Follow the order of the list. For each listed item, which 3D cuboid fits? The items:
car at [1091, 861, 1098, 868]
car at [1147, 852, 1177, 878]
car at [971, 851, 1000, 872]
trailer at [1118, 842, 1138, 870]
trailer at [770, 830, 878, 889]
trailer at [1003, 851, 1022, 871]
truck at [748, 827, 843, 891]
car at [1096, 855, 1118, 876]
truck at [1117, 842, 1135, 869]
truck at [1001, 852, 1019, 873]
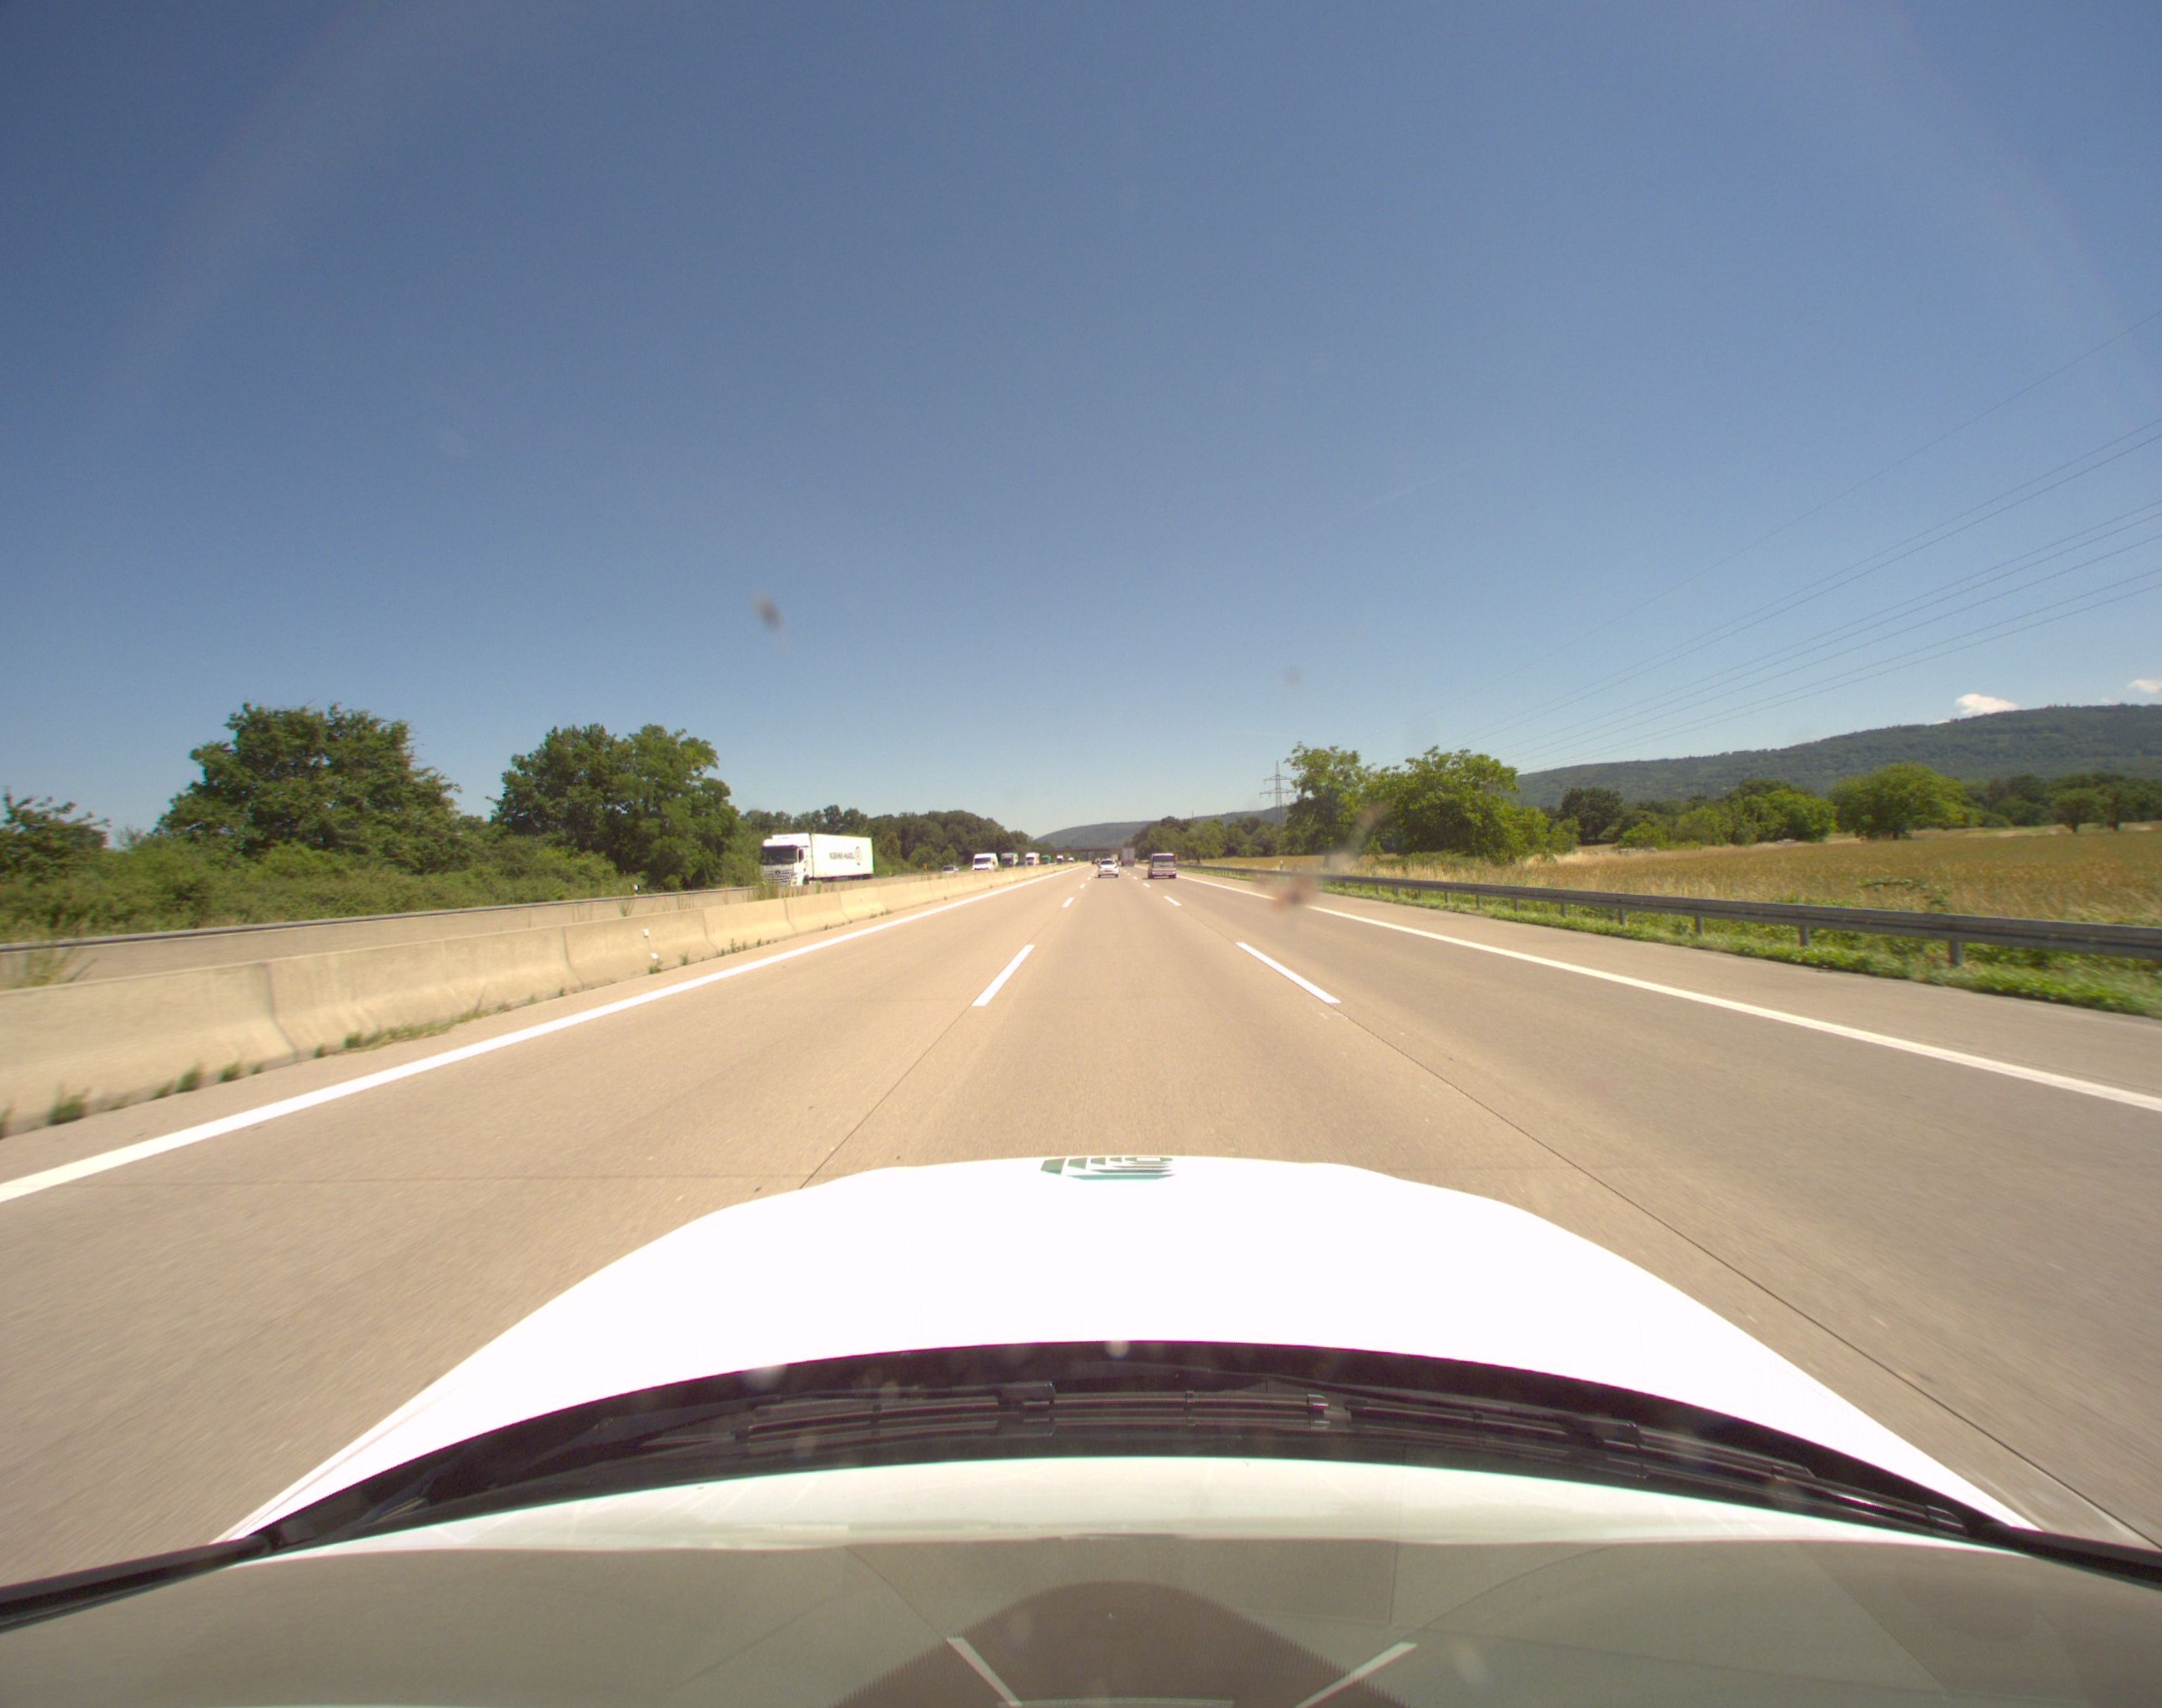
[{"bbox_3d":[4.001,3.162,244.273,1.922,1.794,4.001,-1,0,1],"label":"car"},{"bbox_3d":[6.109,0.820,61.737,1.986,1.849,4.001,0,0,1],"label":"car"},{"bbox_3d":[-9.654,0.761,82.556,2.061,2.013,5.982,-1,0,1],"label":"car"},{"bbox_3d":[10.051,0.356,175.737,3.708,5.811,12.161,-1,0,0],"label":"trailer"},{"bbox_3d":[-18.587,0.347,60.298,3.149,3.838,14.035,-1,0,1],"label":"trailer"},{"bbox_3d":[-14.178,1.428,168.835,2.942,4.105,8.488,-1,0,2],"label":"trailer"},{"bbox_3d":[-18.754,0.300,54.231,3.149,3.908,8.375,-1,0,1],"label":"truck"},{"bbox_3d":[2.164,0.929,68.912,1.813,1.662,4.001,-1,0,1],"label":"car"},{"bbox_3d":[10.099,0.368,182.389,3.709,5.811,7.053,-1,0,0],"label":"truck"},{"bbox_3d":[-14.344,1.687,164.784,2.942,4.127,5.088,-1,0,2],"label":"truck"}]
